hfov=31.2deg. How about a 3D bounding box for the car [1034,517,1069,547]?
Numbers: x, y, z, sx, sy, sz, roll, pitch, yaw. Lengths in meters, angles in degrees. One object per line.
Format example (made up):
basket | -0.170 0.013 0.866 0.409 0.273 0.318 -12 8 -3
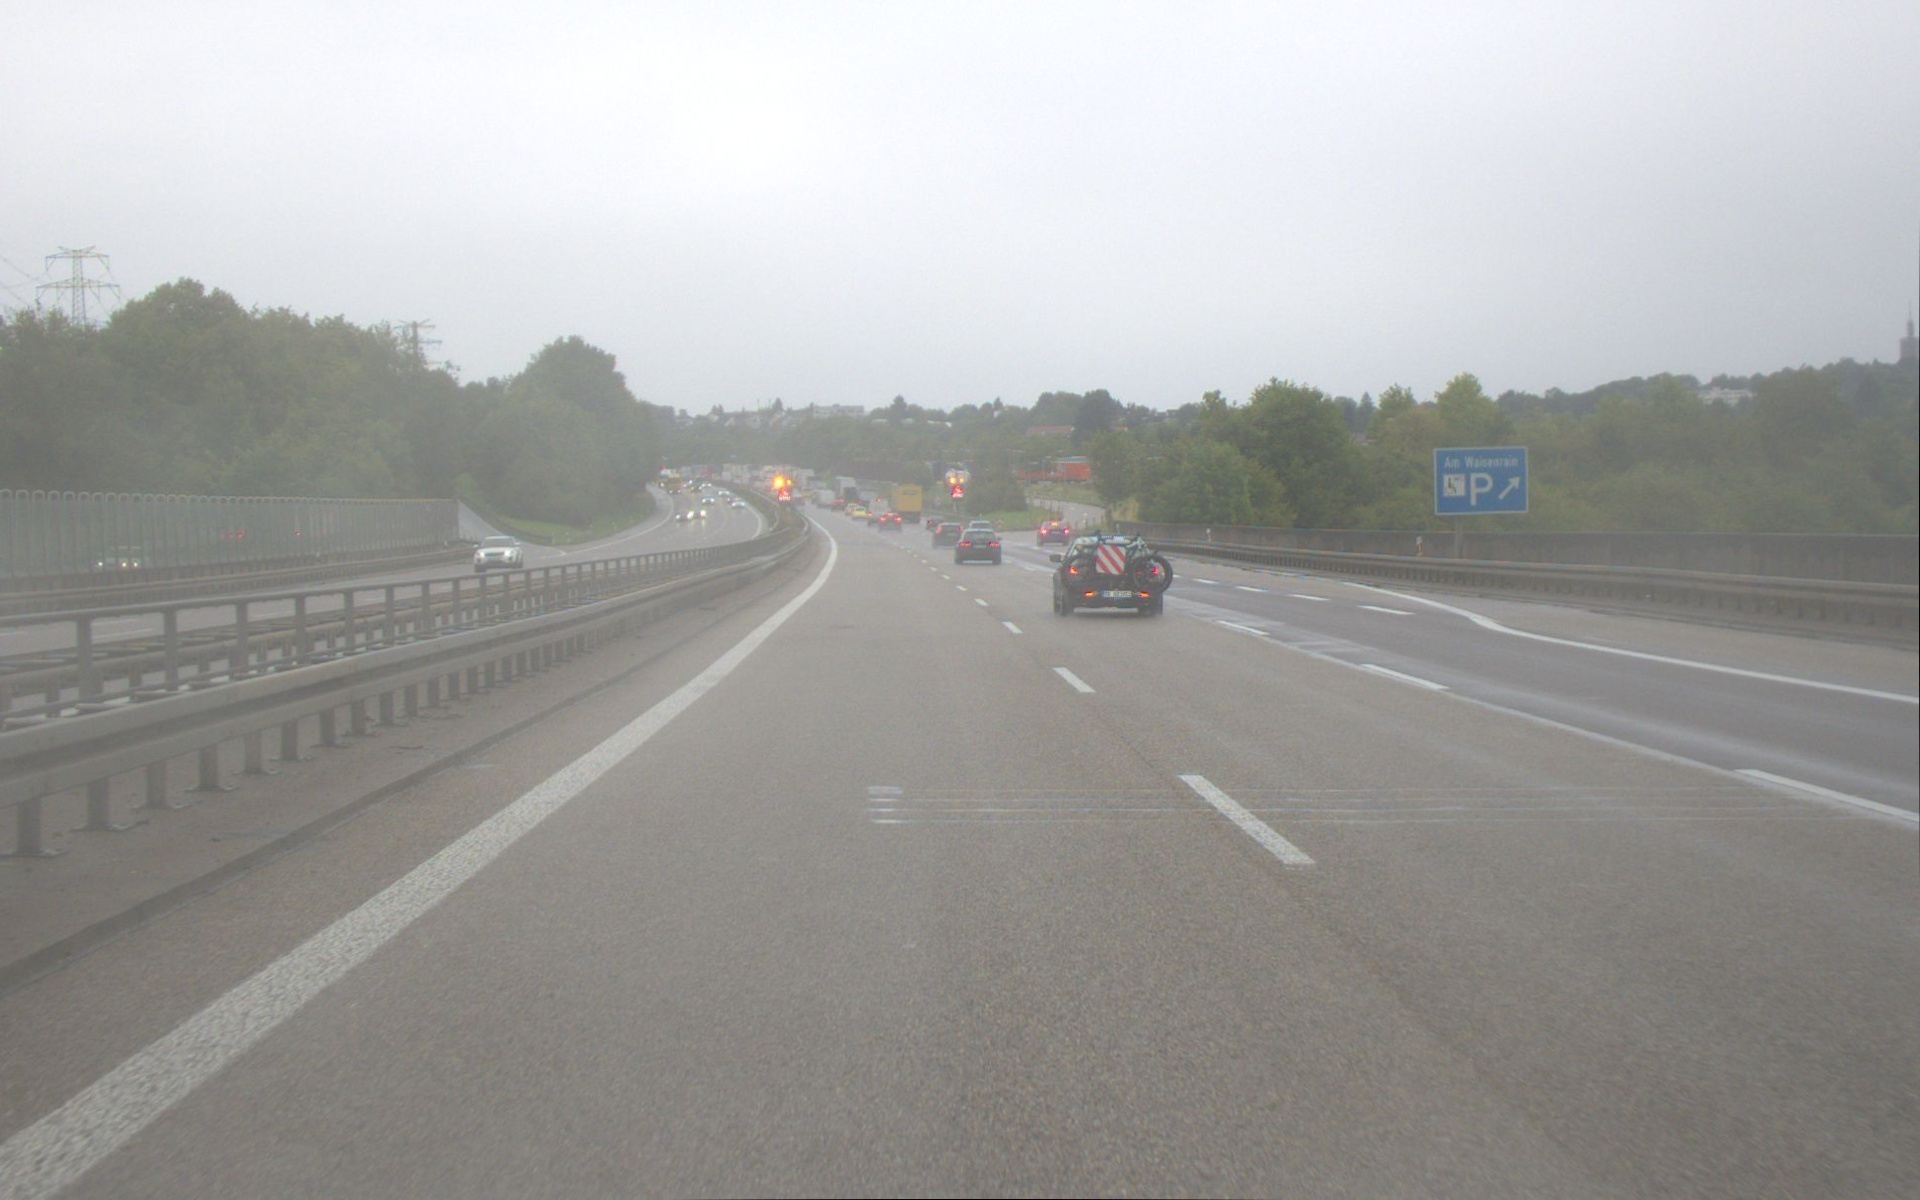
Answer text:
car | 5.524 -4.109 207.131 1.922 1.703 4.000 -1 2 3

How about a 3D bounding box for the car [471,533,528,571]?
car | -20.578 -2.147 153.637 1.993 1.624 4.714 -1 1 -1

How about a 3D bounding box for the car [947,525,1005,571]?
car | 0.634 -2.118 139.329 1.993 1.755 4.001 -2 2 -4

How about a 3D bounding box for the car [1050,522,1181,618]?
car | 2.767 -0.574 62.300 2.057 1.665 5.522 0 1 0

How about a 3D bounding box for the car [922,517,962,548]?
car | -1.028 -3.860 196.687 1.993 1.623 4.001 -2 2 -4
